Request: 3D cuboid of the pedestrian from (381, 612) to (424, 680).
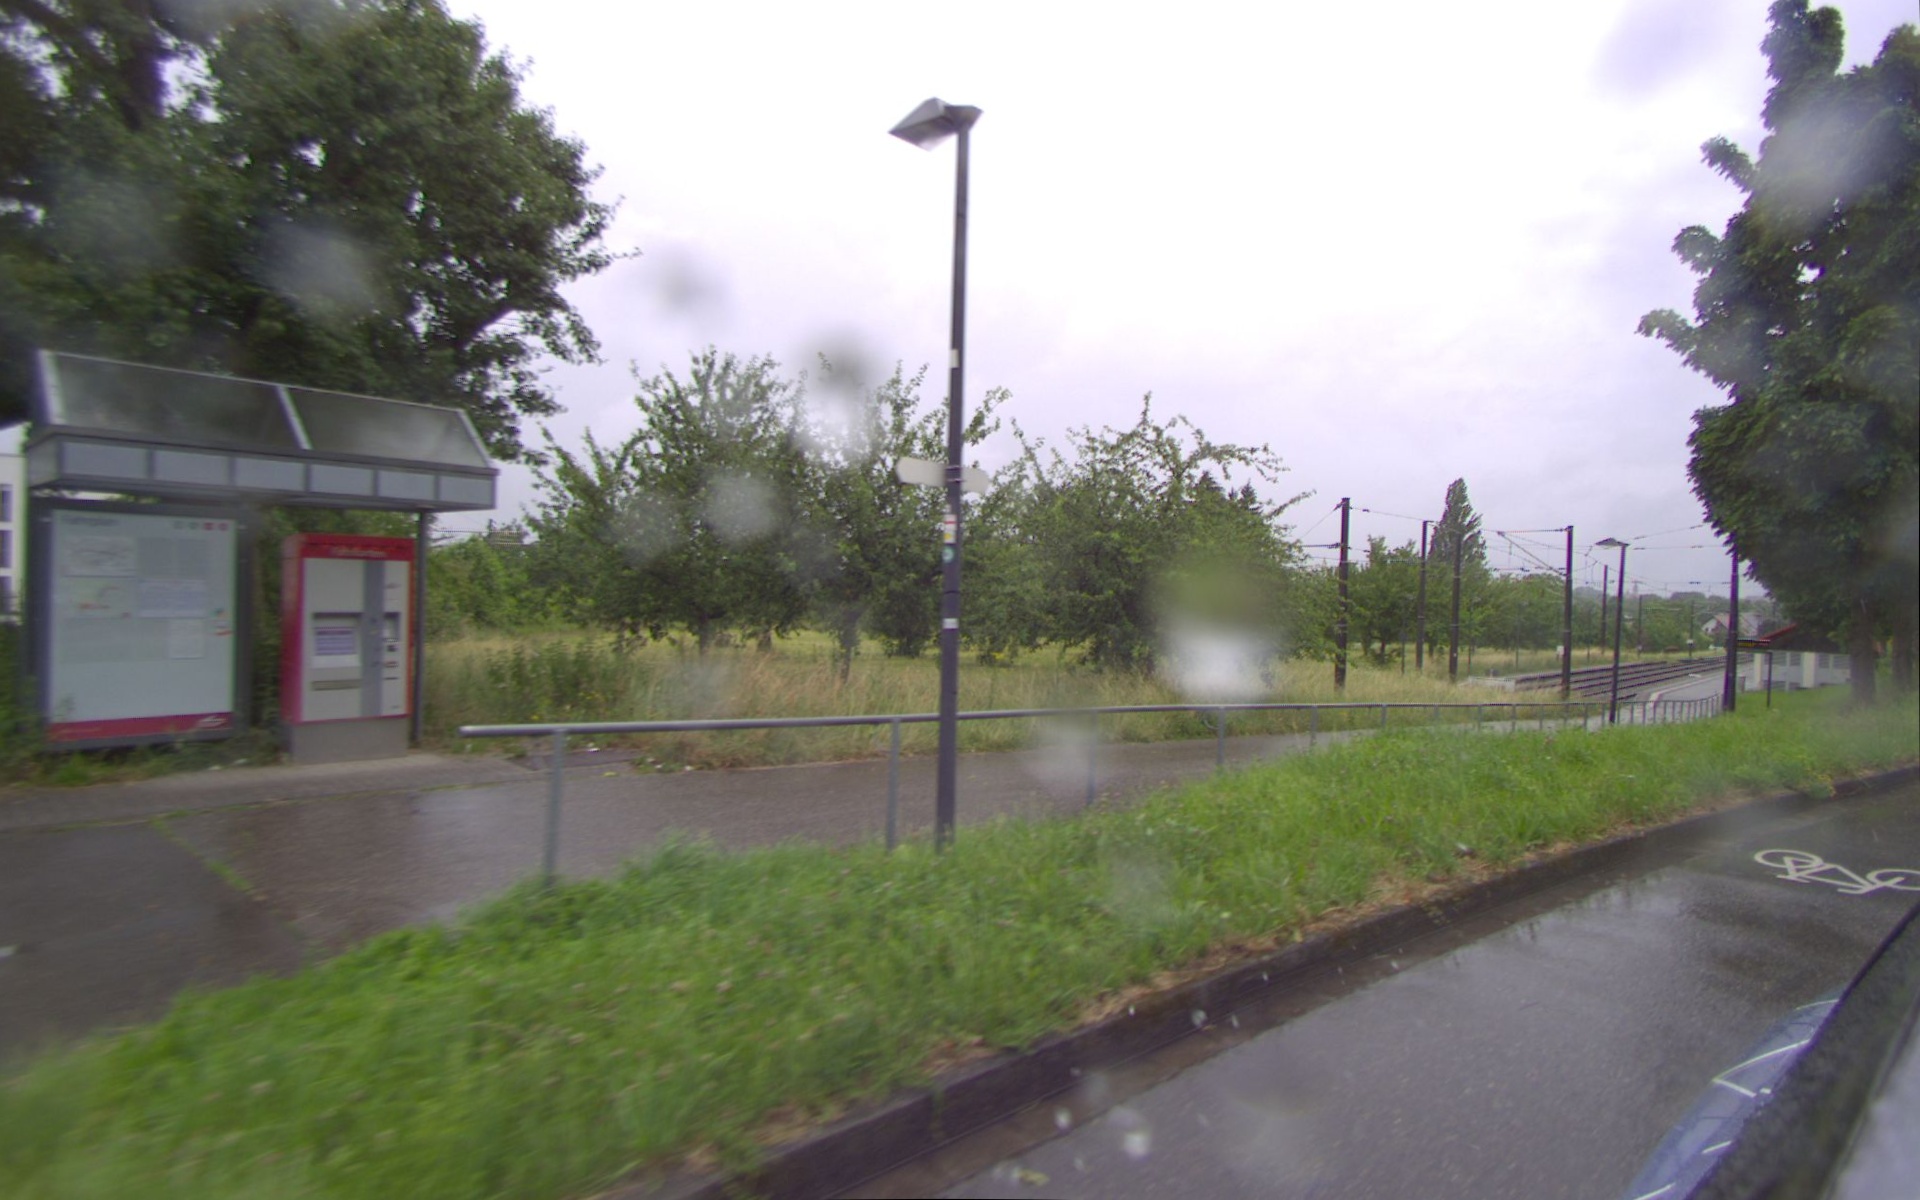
[{"bbox_3d":[-17.132,1.404,31.094,0.759,2.039,0.772,2,-1,13],"label":"pedestrian"}]
